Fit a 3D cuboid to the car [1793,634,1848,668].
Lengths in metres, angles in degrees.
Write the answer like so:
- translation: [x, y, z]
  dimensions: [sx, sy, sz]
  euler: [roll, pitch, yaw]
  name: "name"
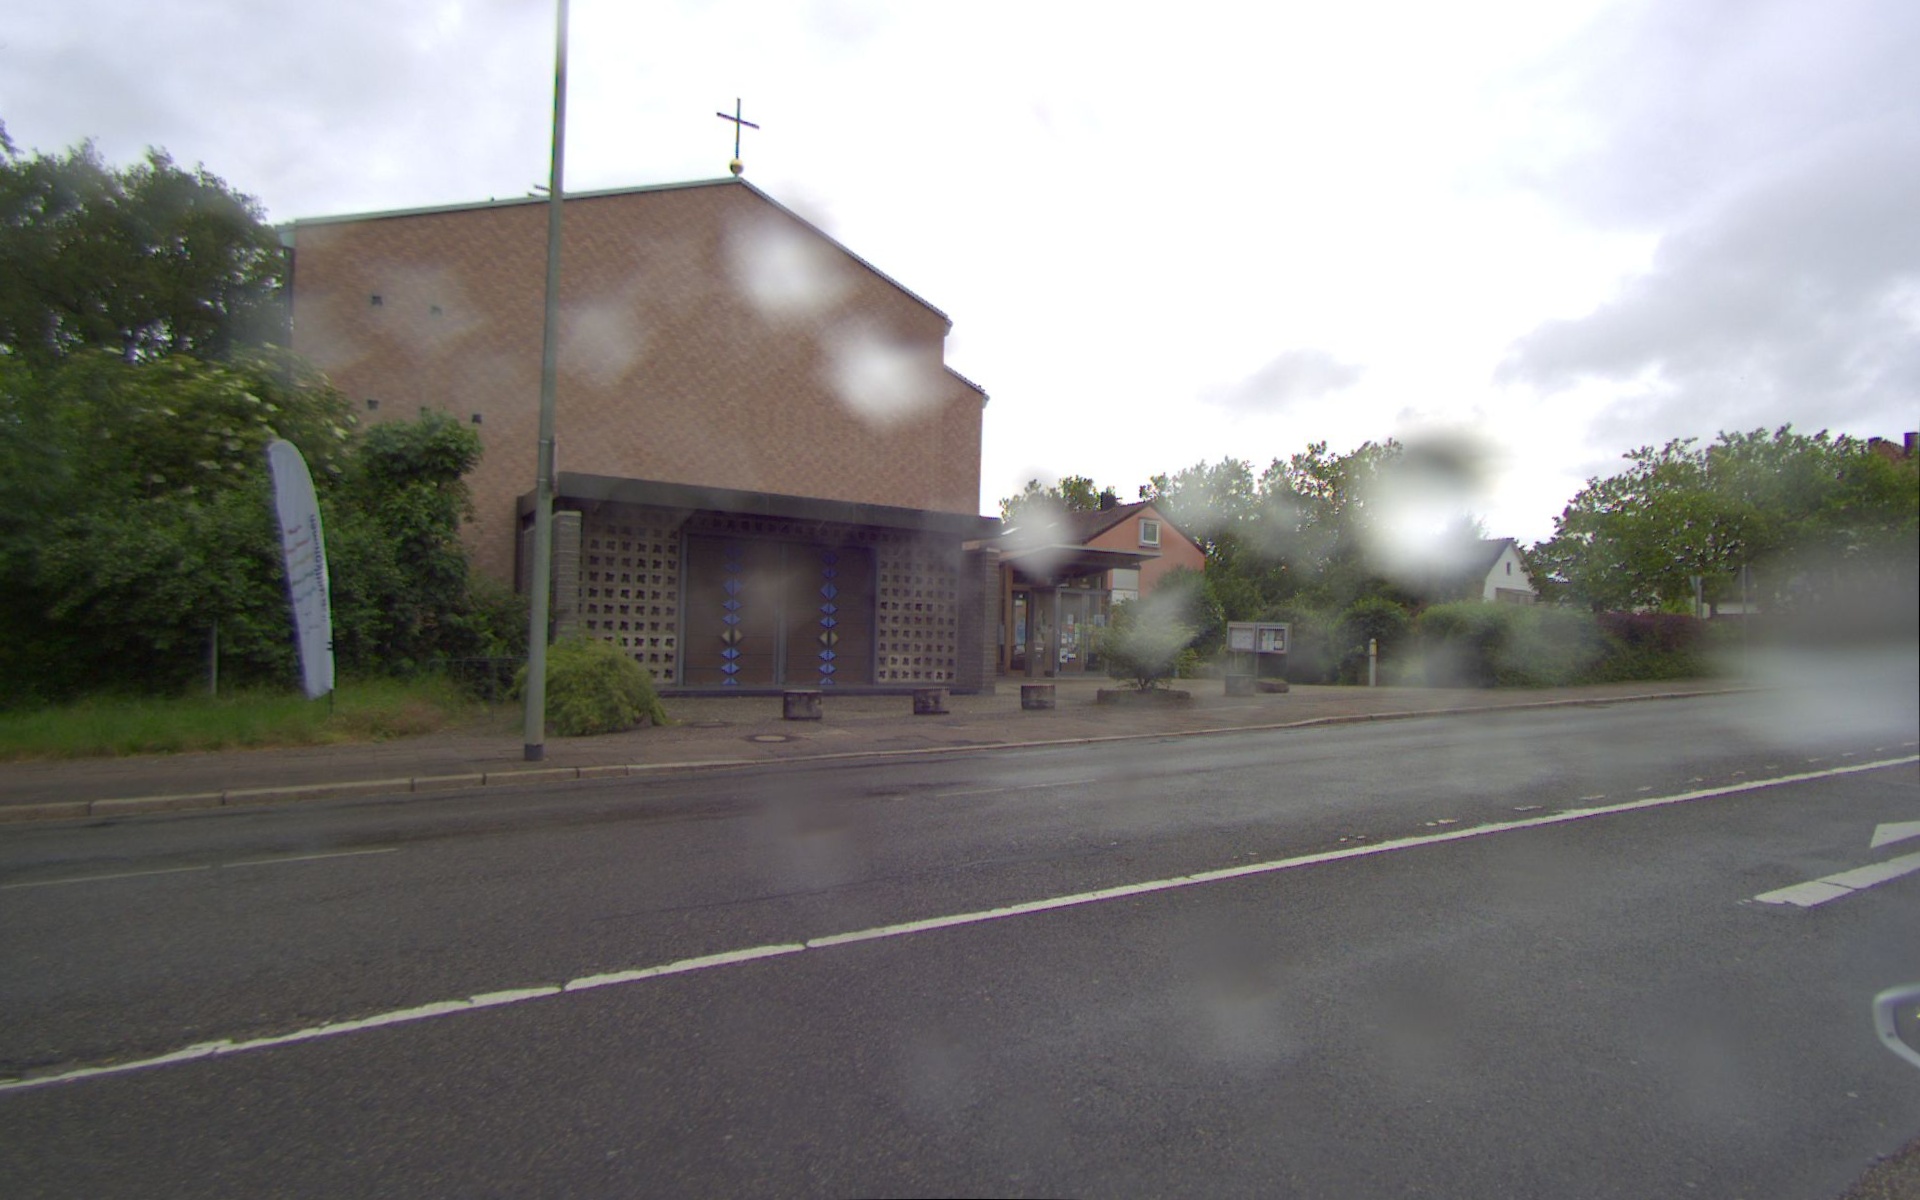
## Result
- translation: [43.946, 2.550, 51.343]
  dimensions: [1.969, 1.572, 3.983]
  euler: [0, -1, 38]
  name: "car"
